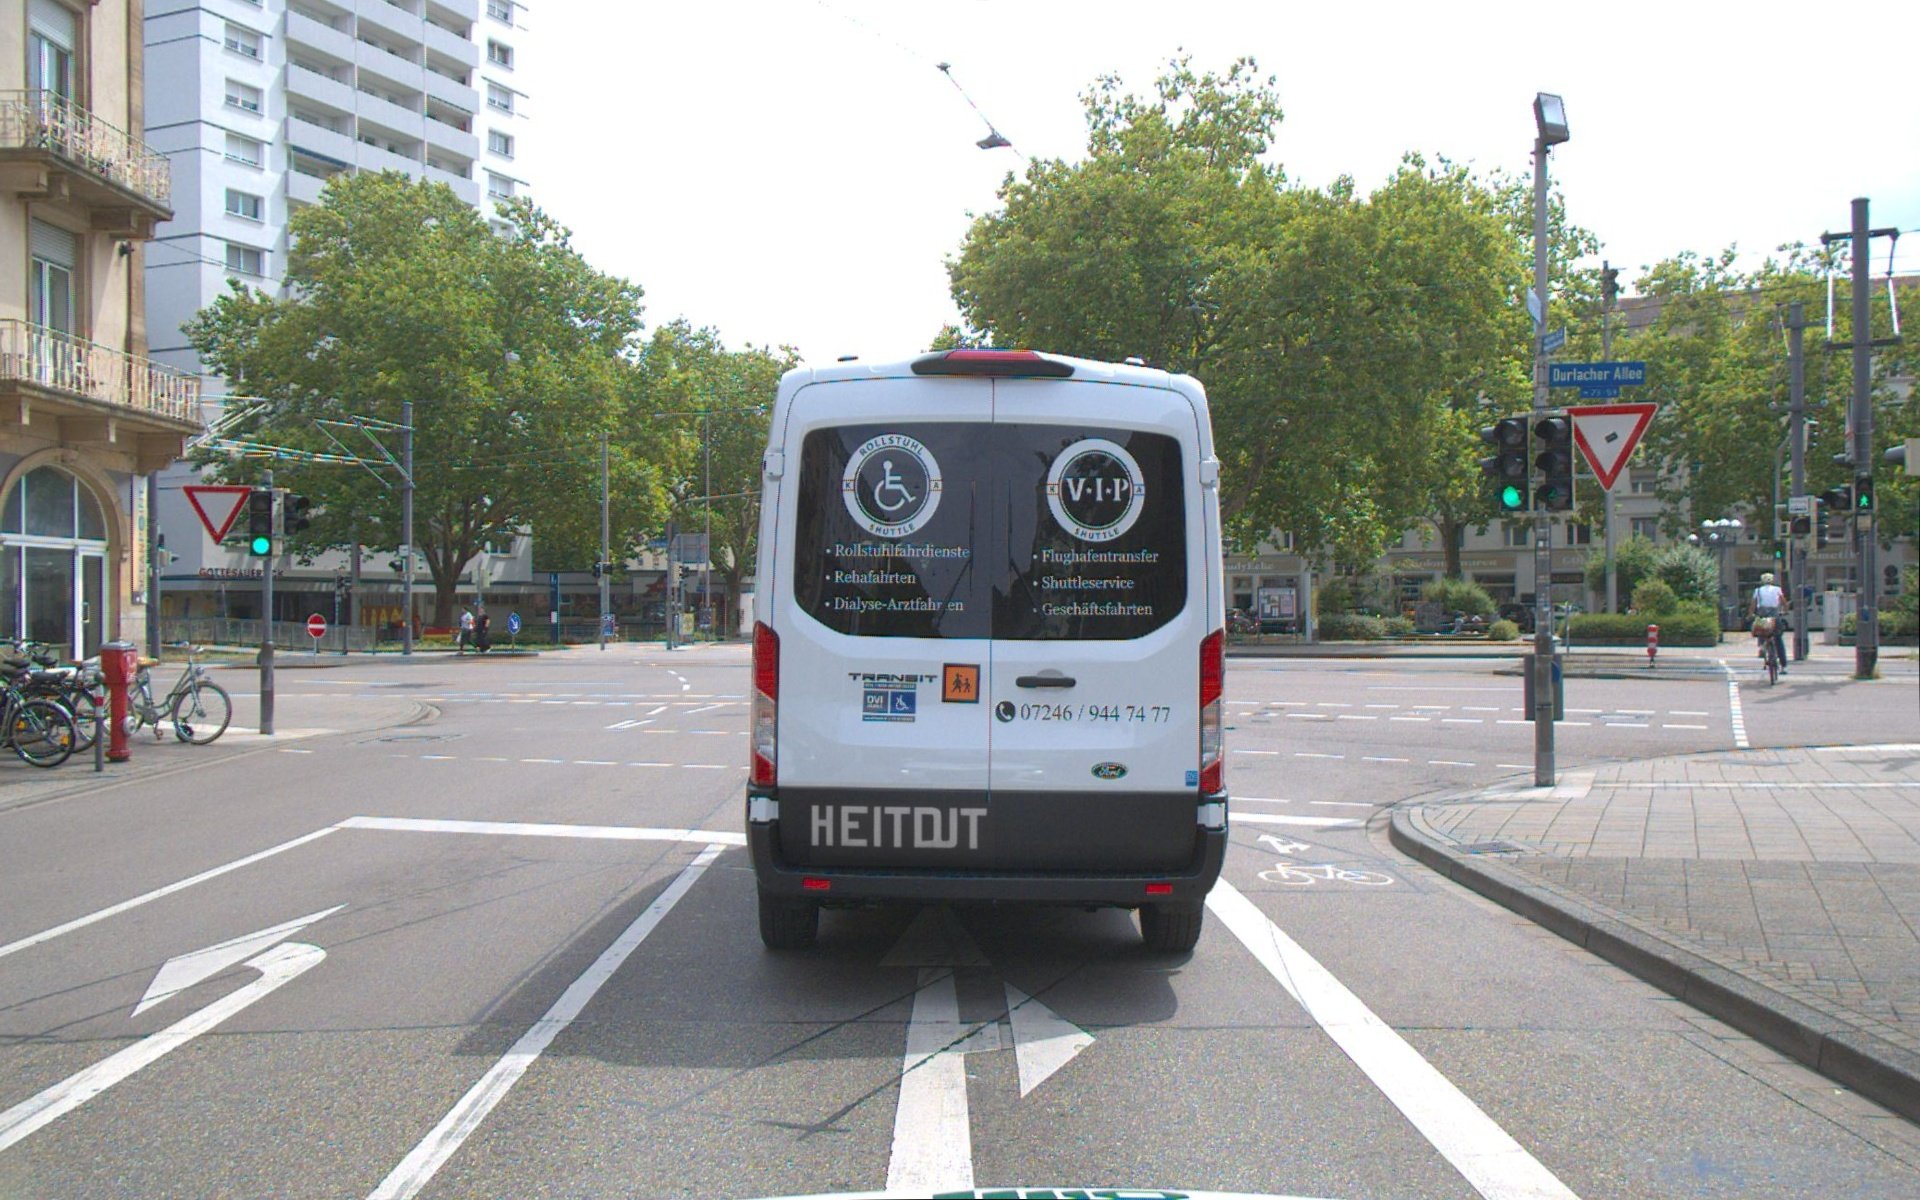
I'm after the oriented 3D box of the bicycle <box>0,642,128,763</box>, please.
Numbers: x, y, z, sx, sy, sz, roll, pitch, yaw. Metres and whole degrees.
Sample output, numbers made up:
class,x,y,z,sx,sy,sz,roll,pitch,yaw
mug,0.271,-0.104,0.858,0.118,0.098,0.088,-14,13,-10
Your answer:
class,x,y,z,sx,sy,sz,roll,pitch,yaw
bicycle,-9.634,1.046,17.031,1.775,1.186,0.593,2,0,-9

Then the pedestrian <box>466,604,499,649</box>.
class,x,y,z,sx,sy,sz,roll,pitch,yaw
pedestrian,-16.623,0.907,57.566,0.916,1.541,0.719,0,0,44

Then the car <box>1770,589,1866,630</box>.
class,x,y,z,sx,sy,sz,roll,pitch,yaw
car,40.521,0.452,78.195,3.907,1.916,1.856,-1,0,24

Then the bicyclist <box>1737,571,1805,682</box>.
class,x,y,z,sx,sy,sz,roll,pitch,yaw
bicyclist,12.763,0.402,26.024,0.887,1.713,0.755,0,0,31

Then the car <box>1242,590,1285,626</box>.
class,x,y,z,sx,sy,sz,roll,pitch,yaw
car,17.263,0.451,94.266,1.951,1.964,4.002,-1,0,4

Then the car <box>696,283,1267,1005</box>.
class,x,y,z,sx,sy,sz,roll,pitch,yaw
car,0.011,0.180,8.528,2.138,2.694,4.626,0,-1,-2

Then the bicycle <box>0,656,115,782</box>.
class,x,y,z,sx,sy,sz,roll,pitch,yaw
bicycle,-9.040,1.119,15.688,1.771,1.140,0.594,-1,0,6

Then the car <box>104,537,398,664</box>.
class,x,y,z,sx,sy,sz,roll,pitch,yaw
car,-23.926,0.021,55.725,9.687,3.984,3.454,0,0,24

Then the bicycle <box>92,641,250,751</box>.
class,x,y,z,sx,sy,sz,roll,pitch,yaw
bicycle,-9.235,1.103,19.345,1.836,1.187,0.498,1,0,20

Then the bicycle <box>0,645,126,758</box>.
class,x,y,z,sx,sy,sz,roll,pitch,yaw
bicycle,-9.963,1.072,17.638,1.775,1.140,0.593,2,0,-9

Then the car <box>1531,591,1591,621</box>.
class,x,y,z,sx,sy,sz,roll,pitch,yaw
car,31.892,0.280,87.865,1.951,1.529,4.002,-1,0,4

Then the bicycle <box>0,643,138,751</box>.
class,x,y,z,sx,sy,sz,roll,pitch,yaw
bicycle,-10.176,1.065,18.333,1.775,1.140,0.593,2,0,-9

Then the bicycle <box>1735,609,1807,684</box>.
class,x,y,z,sx,sy,sz,roll,pitch,yaw
bicycle,12.773,0.705,26.023,0.886,1.094,1.966,0,0,30

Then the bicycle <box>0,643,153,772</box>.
class,x,y,z,sx,sy,sz,roll,pitch,yaw
bicycle,-9.009,1.045,16.303,1.771,1.140,0.594,3,0,3

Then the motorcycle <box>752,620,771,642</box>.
class,x,y,z,sx,sy,sz,roll,pitch,yaw
motorcycle,-9.549,1.485,79.560,0.669,0.988,2.323,-1,0,0

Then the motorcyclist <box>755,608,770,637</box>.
class,x,y,z,sx,sy,sz,roll,pitch,yaw
motorcyclist,-9.553,1.089,80.025,0.669,1.420,0.681,-1,0,-1

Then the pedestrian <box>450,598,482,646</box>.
class,x,y,z,sx,sy,sz,roll,pitch,yaw
pedestrian,-16.877,0.738,56.523,0.795,1.600,0.719,0,0,43

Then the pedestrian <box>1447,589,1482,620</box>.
class,x,y,z,sx,sy,sz,roll,pitch,yaw
pedestrian,21.321,0.185,69.943,1.068,1.257,1.441,-2,-1,4

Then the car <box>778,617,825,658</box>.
class,x,y,z,sx,sy,sz,roll,pitch,yaw
car,-6.325,1.475,66.435,1.559,1.534,3.806,-1,0,-1
